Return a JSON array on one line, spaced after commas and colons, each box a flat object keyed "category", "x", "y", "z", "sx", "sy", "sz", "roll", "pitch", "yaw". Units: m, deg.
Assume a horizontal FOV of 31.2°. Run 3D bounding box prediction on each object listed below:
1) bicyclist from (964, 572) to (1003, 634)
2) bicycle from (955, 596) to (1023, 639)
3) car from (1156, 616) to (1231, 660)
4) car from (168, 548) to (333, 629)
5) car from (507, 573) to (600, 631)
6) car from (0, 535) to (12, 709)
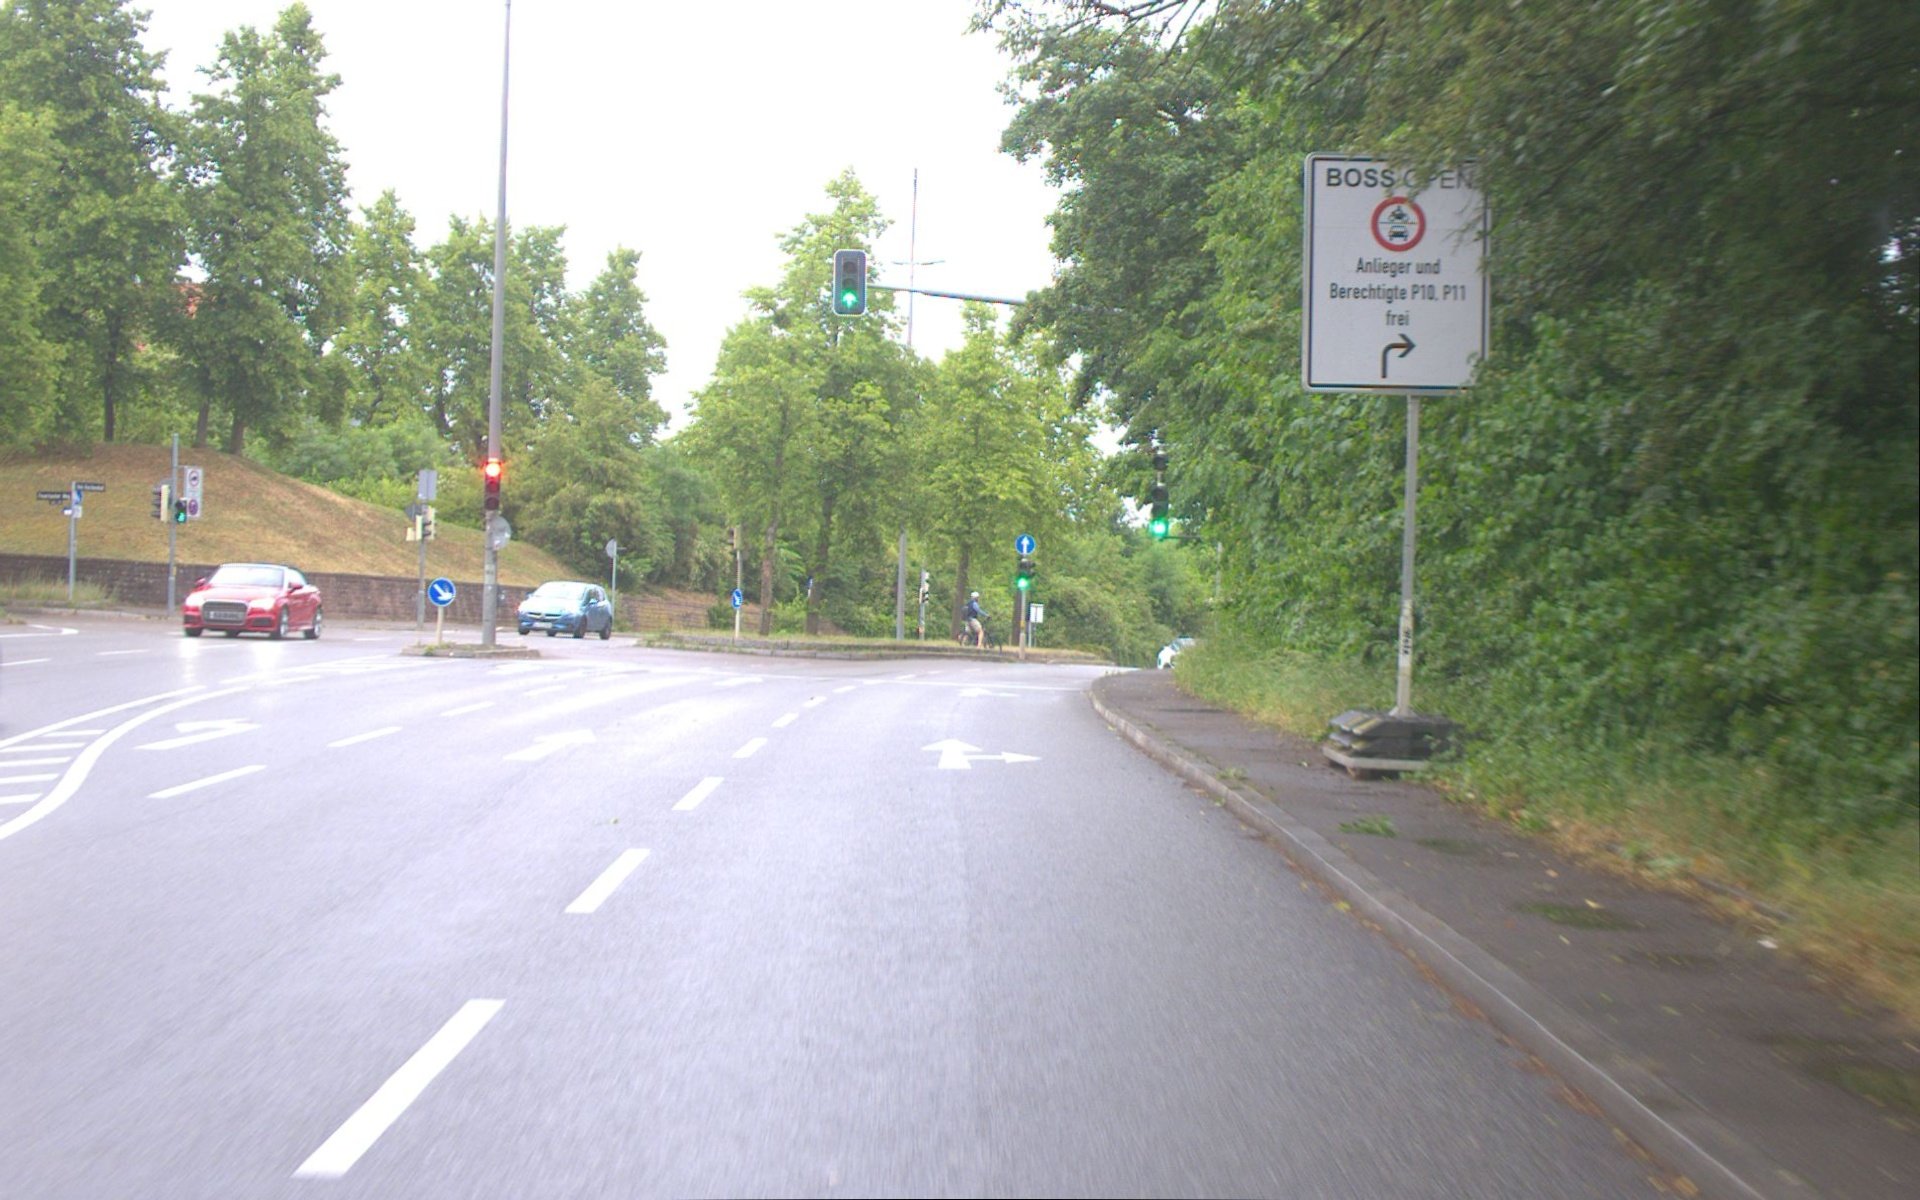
[{"category": "bicyclist", "x": 0.682, "y": 0.088, "z": 100.688, "sx": 0.799, "sy": 1.746, "sz": 0.725, "roll": 5, "pitch": -4, "yaw": -42}, {"category": "bicycle", "x": 0.846, "y": 0.507, "z": 100.785, "sx": 2.134, "sy": 1.139, "sz": 0.554, "roll": 4, "pitch": -1, "yaw": -42}, {"category": "car", "x": 10.016, "y": 1.637, "z": 147.065, "sx": 1.947, "sy": 1.630, "sz": 5.000, "roll": 3, "pitch": -1, "yaw": 19}, {"category": "car", "x": -12.979, "y": -0.241, "z": 63.134, "sx": 1.875, "sy": 1.369, "sz": 4.384, "roll": 2, "pitch": 1, "yaw": 3}, {"category": "car", "x": -10.613, "y": 0.037, "z": 90.056, "sx": 1.993, "sy": 1.485, "sz": 3.937, "roll": 0, "pitch": 0, "yaw": 0}, {"category": "car", "x": -8.488, "y": 0.194, "z": 26.283, "sx": 1.700, "sy": 1.422, "sz": 4.079, "roll": 2, "pitch": 1, "yaw": -6}]
